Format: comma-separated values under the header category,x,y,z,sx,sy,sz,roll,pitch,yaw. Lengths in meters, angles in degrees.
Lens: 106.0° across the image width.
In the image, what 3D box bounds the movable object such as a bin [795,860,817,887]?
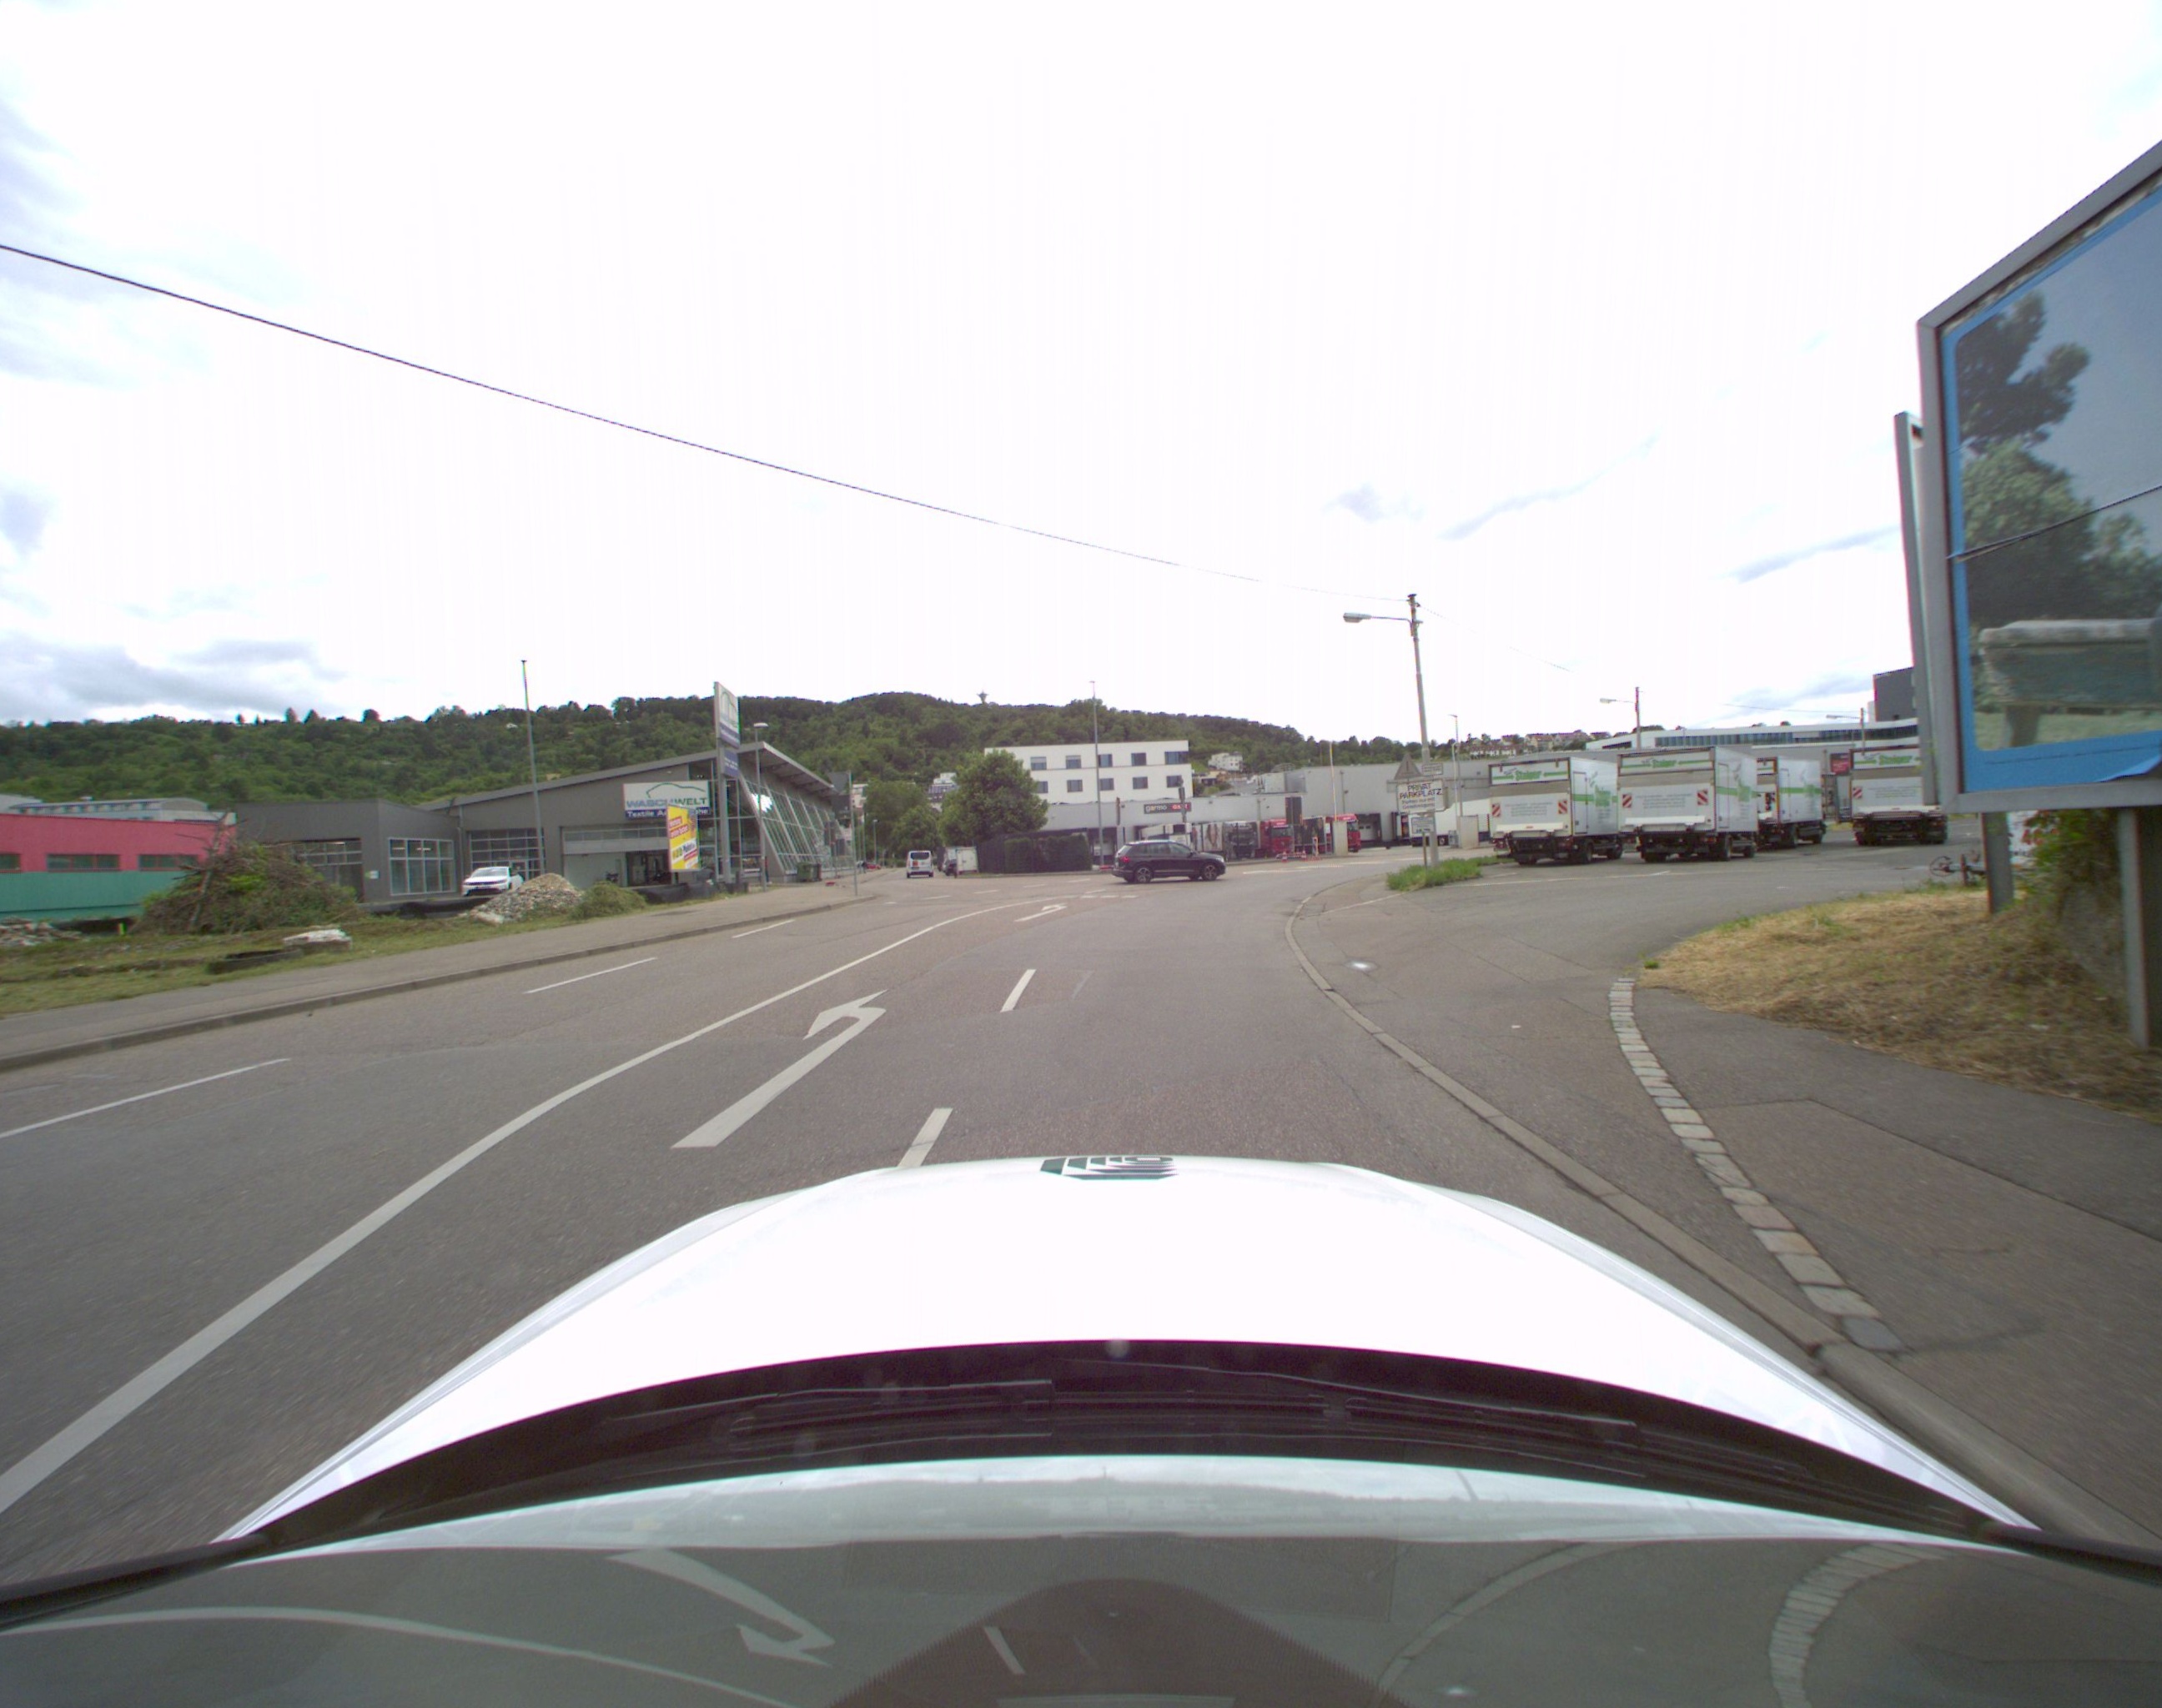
category,x,y,z,sx,sy,sz,roll,pitch,yaw
movable object such as a bin,-18.712,1.312,55.497,1.142,1.757,1.056,-3,-1,-8

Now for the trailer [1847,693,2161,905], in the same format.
category,x,y,z,sx,sy,sz,roll,pitch,yaw
trailer,13.138,-0.654,10.719,1.799,2.397,4.412,-3,0,-1

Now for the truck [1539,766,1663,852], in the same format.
category,x,y,z,sx,sy,sz,roll,pitch,yaw
truck,25.261,-2.083,39.303,8.656,3.631,3.034,-3,0,-44

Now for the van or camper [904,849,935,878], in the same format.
category,x,y,z,sx,sy,sz,roll,pitch,yaw
van or camper,-12.534,0.776,63.078,2.102,2.083,4.184,-3,-1,-14

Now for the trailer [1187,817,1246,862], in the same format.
category,x,y,z,sx,sy,sz,roll,pitch,yaw
trailer,14.052,-1.371,85.717,2.781,4.301,11.151,-3,-1,-8

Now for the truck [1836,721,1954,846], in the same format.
category,x,y,z,sx,sy,sz,roll,pitch,yaw
truck,35.067,-2.804,34.914,9.840,4.538,3.035,-3,-1,-43

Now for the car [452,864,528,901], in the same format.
category,x,y,z,sx,sy,sz,roll,pitch,yaw
car,-27.235,1.300,37.646,2.003,1.535,3.967,-3,0,-24

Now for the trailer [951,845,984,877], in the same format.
category,x,y,z,sx,sy,sz,roll,pitch,yaw
trailer,-7.710,0.452,54.895,1.994,2.013,3.986,-3,0,-10

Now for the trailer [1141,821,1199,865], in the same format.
category,x,y,z,sx,sy,sz,roll,pitch,yaw
trailer,9.028,-0.968,84.349,3.079,4.077,11.378,-3,-1,-8

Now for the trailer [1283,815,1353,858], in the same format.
category,x,y,z,sx,sy,sz,roll,pitch,yaw
trailer,25.081,-1.686,86.807,2.781,4.077,10.965,-3,-1,-8

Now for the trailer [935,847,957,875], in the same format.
category,x,y,z,sx,sy,sz,roll,pitch,yaw
trailer,-15.521,0.788,93.764,2.279,2.953,3.986,-3,0,-10

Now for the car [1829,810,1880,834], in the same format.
category,x,y,z,sx,sy,sz,roll,pitch,yaw
car,65.571,-2.732,68.993,4.012,1.749,1.981,-4,0,-29

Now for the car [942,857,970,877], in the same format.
category,x,y,z,sx,sy,sz,roll,pitch,yaw
car,-10.298,1.031,66.922,1.995,1.508,4.165,-3,0,-12

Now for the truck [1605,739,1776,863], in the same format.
category,x,y,z,sx,sy,sz,roll,pitch,yaw
truck,21.124,-1.709,27.976,8.652,3.630,3.036,-3,2,-42

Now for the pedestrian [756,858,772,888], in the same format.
category,x,y,z,sx,sy,sz,roll,pitch,yaw
pedestrian,-20.408,1.208,52.480,0.829,1.868,0.713,-4,0,-22

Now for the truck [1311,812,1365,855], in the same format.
category,x,y,z,sx,sy,sz,roll,pitch,yaw
truck,25.643,-1.966,81.568,2.791,3.928,5.910,-3,-1,-7

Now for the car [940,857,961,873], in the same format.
category,x,y,z,sx,sy,sz,roll,pitch,yaw
car,-13.329,1.105,83.298,1.993,1.508,3.988,-3,0,-9

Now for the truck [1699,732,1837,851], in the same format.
category,x,y,z,sx,sy,sz,roll,pitch,yaw
truck,29.440,-2.516,34.704,8.832,4.350,3.036,-3,0,-41

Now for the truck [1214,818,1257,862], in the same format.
category,x,y,z,sx,sy,sz,roll,pitch,yaw
truck,14.930,-1.318,79.099,2.791,4.040,4.154,-3,-1,-8

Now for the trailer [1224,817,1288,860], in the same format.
category,x,y,z,sx,sy,sz,roll,pitch,yaw
trailer,18.240,-1.492,85.777,2.781,4.077,10.965,-3,-1,-8

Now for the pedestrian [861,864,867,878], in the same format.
category,x,y,z,sx,sy,sz,roll,pitch,yaw
pedestrian,-26.977,2.109,101.227,0.628,1.673,0.754,-3,-1,-14

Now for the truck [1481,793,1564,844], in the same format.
category,x,y,z,sx,sy,sz,roll,pitch,yaw
truck,39.019,-3.088,72.063,2.948,4.020,5.547,-3,-1,-42

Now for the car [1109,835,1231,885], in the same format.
category,x,y,z,sx,sy,sz,roll,pitch,yaw
car,3.428,0.221,31.775,4.356,1.684,1.994,-3,0,-9

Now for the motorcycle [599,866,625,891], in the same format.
category,x,y,z,sx,sy,sz,roll,pitch,yaw
motorcycle,-33.392,1.737,57.995,0.841,1.710,2.354,-3,0,-12

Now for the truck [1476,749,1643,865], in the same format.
category,x,y,z,sx,sy,sz,roll,pitch,yaw
truck,17.932,-1.623,30.157,8.656,3.631,3.034,-3,0,-44

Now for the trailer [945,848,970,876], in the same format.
category,x,y,z,sx,sy,sz,roll,pitch,yaw
trailer,-11.051,0.712,72.443,1.994,2.343,3.986,-3,0,-10

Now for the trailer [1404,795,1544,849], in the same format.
category,x,y,z,sx,sy,sz,roll,pitch,yaw
trailer,37.067,-2.873,77.875,3.036,4.183,13.929,-3,0,-19

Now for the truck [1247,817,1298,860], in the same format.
category,x,y,z,sx,sy,sz,roll,pitch,yaw
truck,18.864,-1.484,80.592,2.791,3.928,5.910,-3,-1,-7

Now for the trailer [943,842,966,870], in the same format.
category,x,y,z,sx,sy,sz,roll,pitch,yaw
trailer,-18.101,0.320,116.294,3.069,3.759,4.916,-3,0,-10
